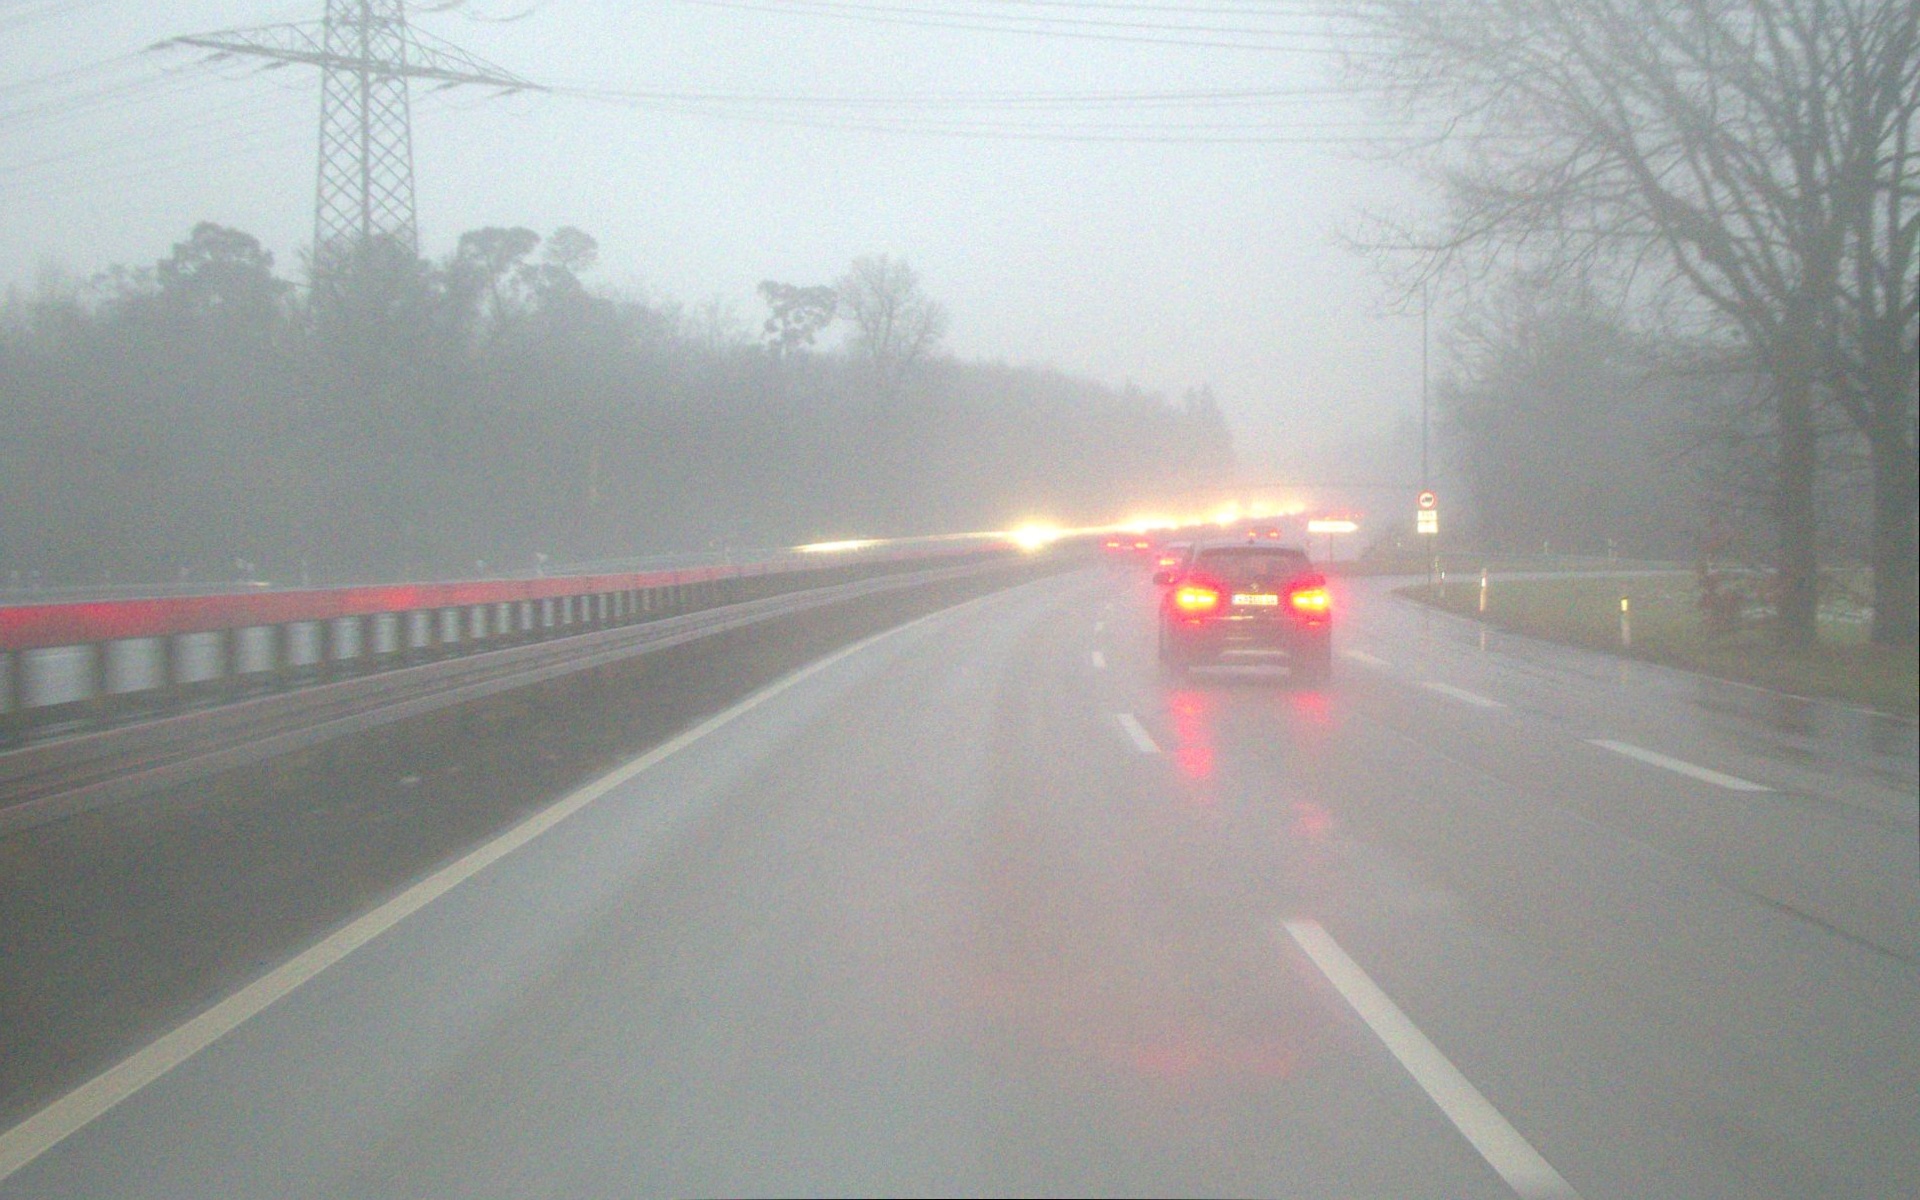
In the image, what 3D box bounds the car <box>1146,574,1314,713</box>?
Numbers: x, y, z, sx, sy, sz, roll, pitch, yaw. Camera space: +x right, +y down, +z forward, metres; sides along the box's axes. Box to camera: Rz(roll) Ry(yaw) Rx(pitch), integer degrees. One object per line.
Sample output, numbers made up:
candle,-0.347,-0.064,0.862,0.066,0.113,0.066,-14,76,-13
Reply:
car,3.209,0.487,41.462,1.678,1.503,3.809,0,2,-1
